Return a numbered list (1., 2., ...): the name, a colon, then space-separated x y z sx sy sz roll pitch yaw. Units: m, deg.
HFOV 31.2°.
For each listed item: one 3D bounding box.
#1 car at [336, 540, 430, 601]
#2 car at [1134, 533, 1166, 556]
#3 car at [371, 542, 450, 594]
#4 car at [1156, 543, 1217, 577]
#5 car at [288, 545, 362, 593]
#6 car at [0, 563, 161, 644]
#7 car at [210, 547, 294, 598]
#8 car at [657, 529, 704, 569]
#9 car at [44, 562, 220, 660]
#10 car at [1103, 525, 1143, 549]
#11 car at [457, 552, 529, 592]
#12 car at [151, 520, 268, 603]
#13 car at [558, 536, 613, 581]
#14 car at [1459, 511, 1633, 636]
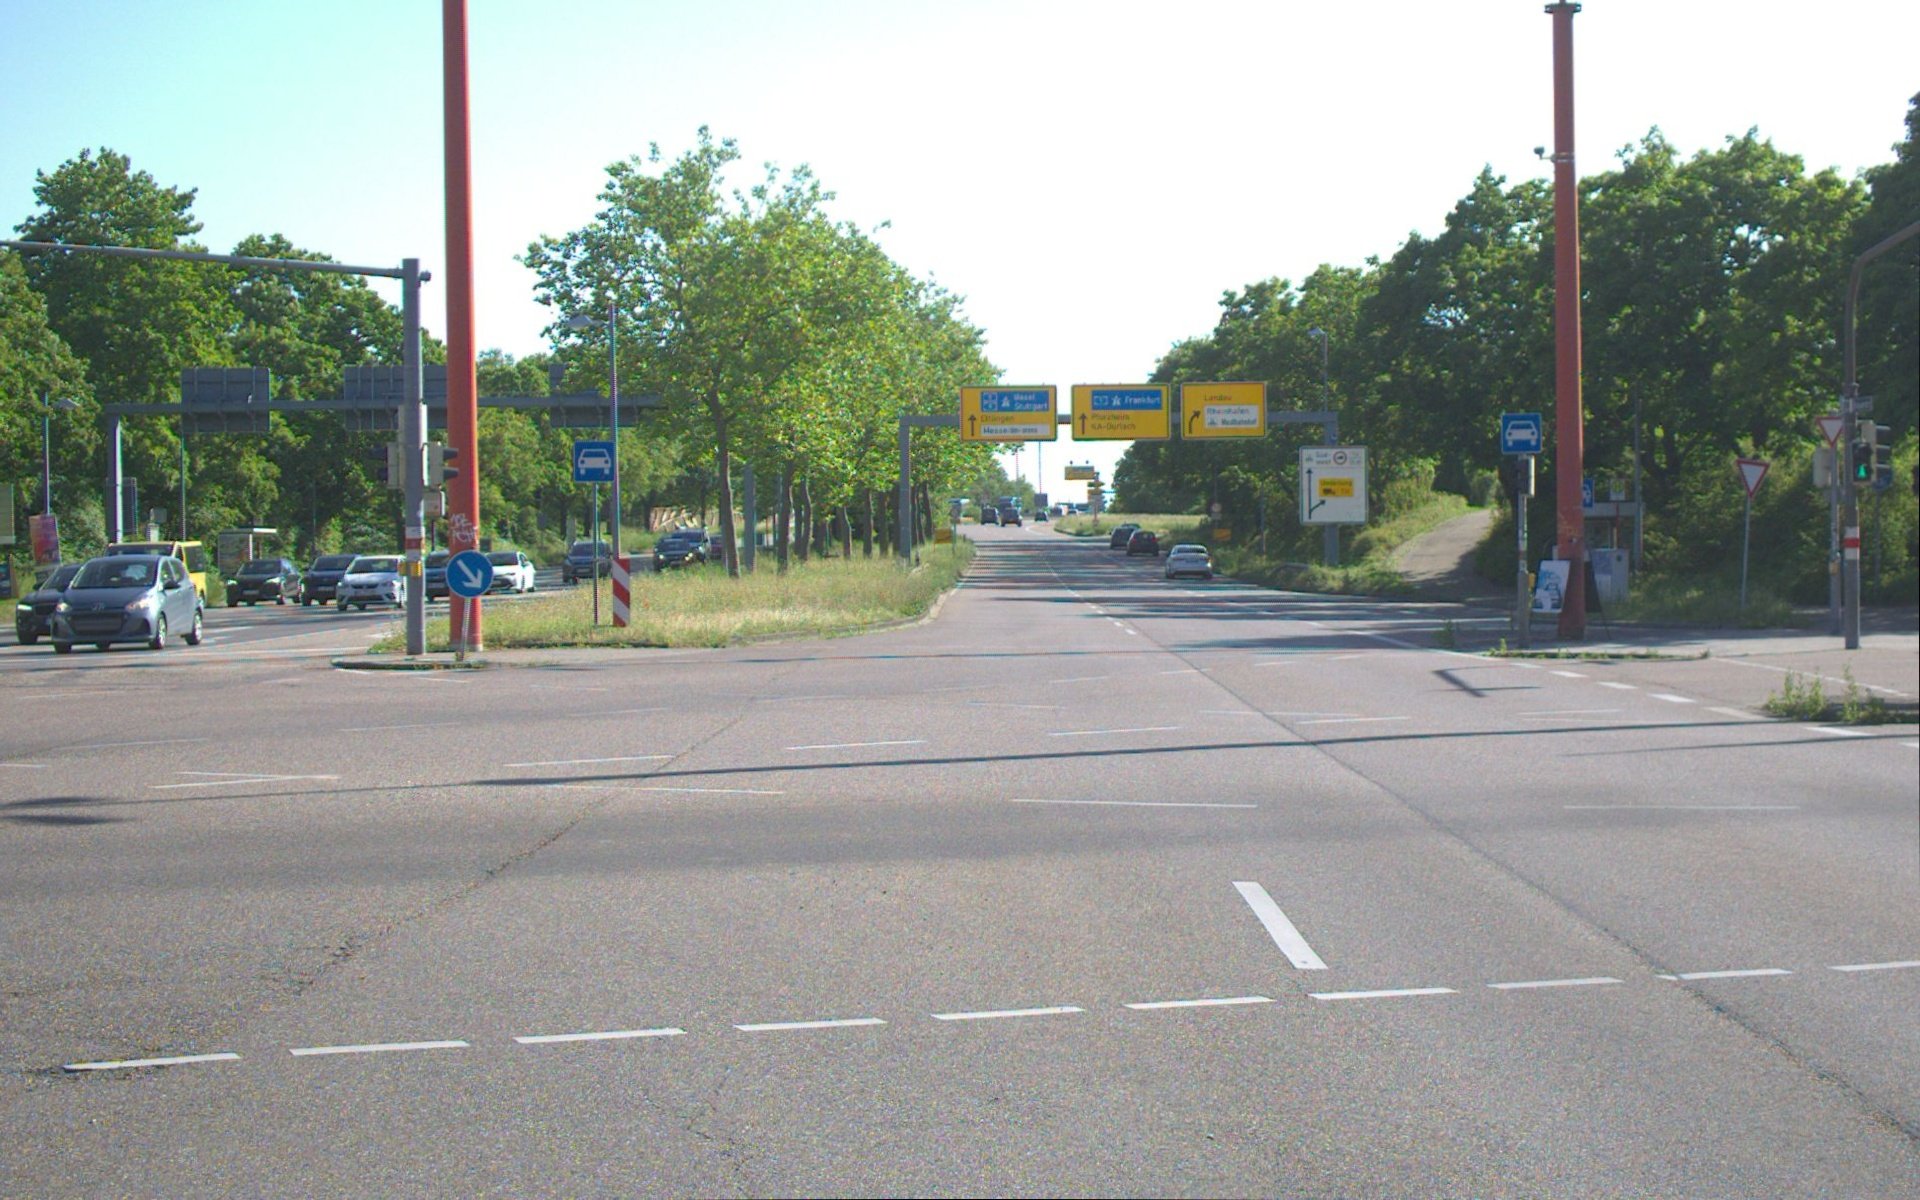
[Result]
1. car: -15.446 -0.792 92.176 1.704 1.590 4.000 1 1 2
2. car: 11.089 -3.224 200.347 1.738 1.337 3.081 0 1 1
3. car: -16.728 -0.975 104.743 1.704 1.553 3.803 1 1 2
4. car: 9.321 -1.642 141.500 2.054 1.366 4.392 -1 1 -2
5. car: -19.672 -0.971 106.633 1.628 1.445 3.434 1 1 1
6. car: -15.981 0.037 62.626 1.628 1.363 4.796 0 1 1
7. car: -23.024 -0.905 111.987 1.993 1.633 4.000 1 1 -1
8. car: -12.530 -2.273 154.149 1.657 1.741 4.000 1 1 2
9. car: -13.028 0.151 54.298 1.701 1.416 4.000 3 0 1
10. car: 10.689 -4.119 225.024 1.993 1.491 4.001 0 1 -7
11. car: -15.858 -0.975 116.924 2.003 1.303 4.000 -1 1 -2
12. car: -18.477 -0.948 84.818 1.757 1.980 4.789 1 1 1
13. car: -14.969 -1.672 137.534 1.625 1.733 4.000 0 1 1
14. car: 9.221 -0.430 53.887 1.995 1.881 3.996 0 1 20
